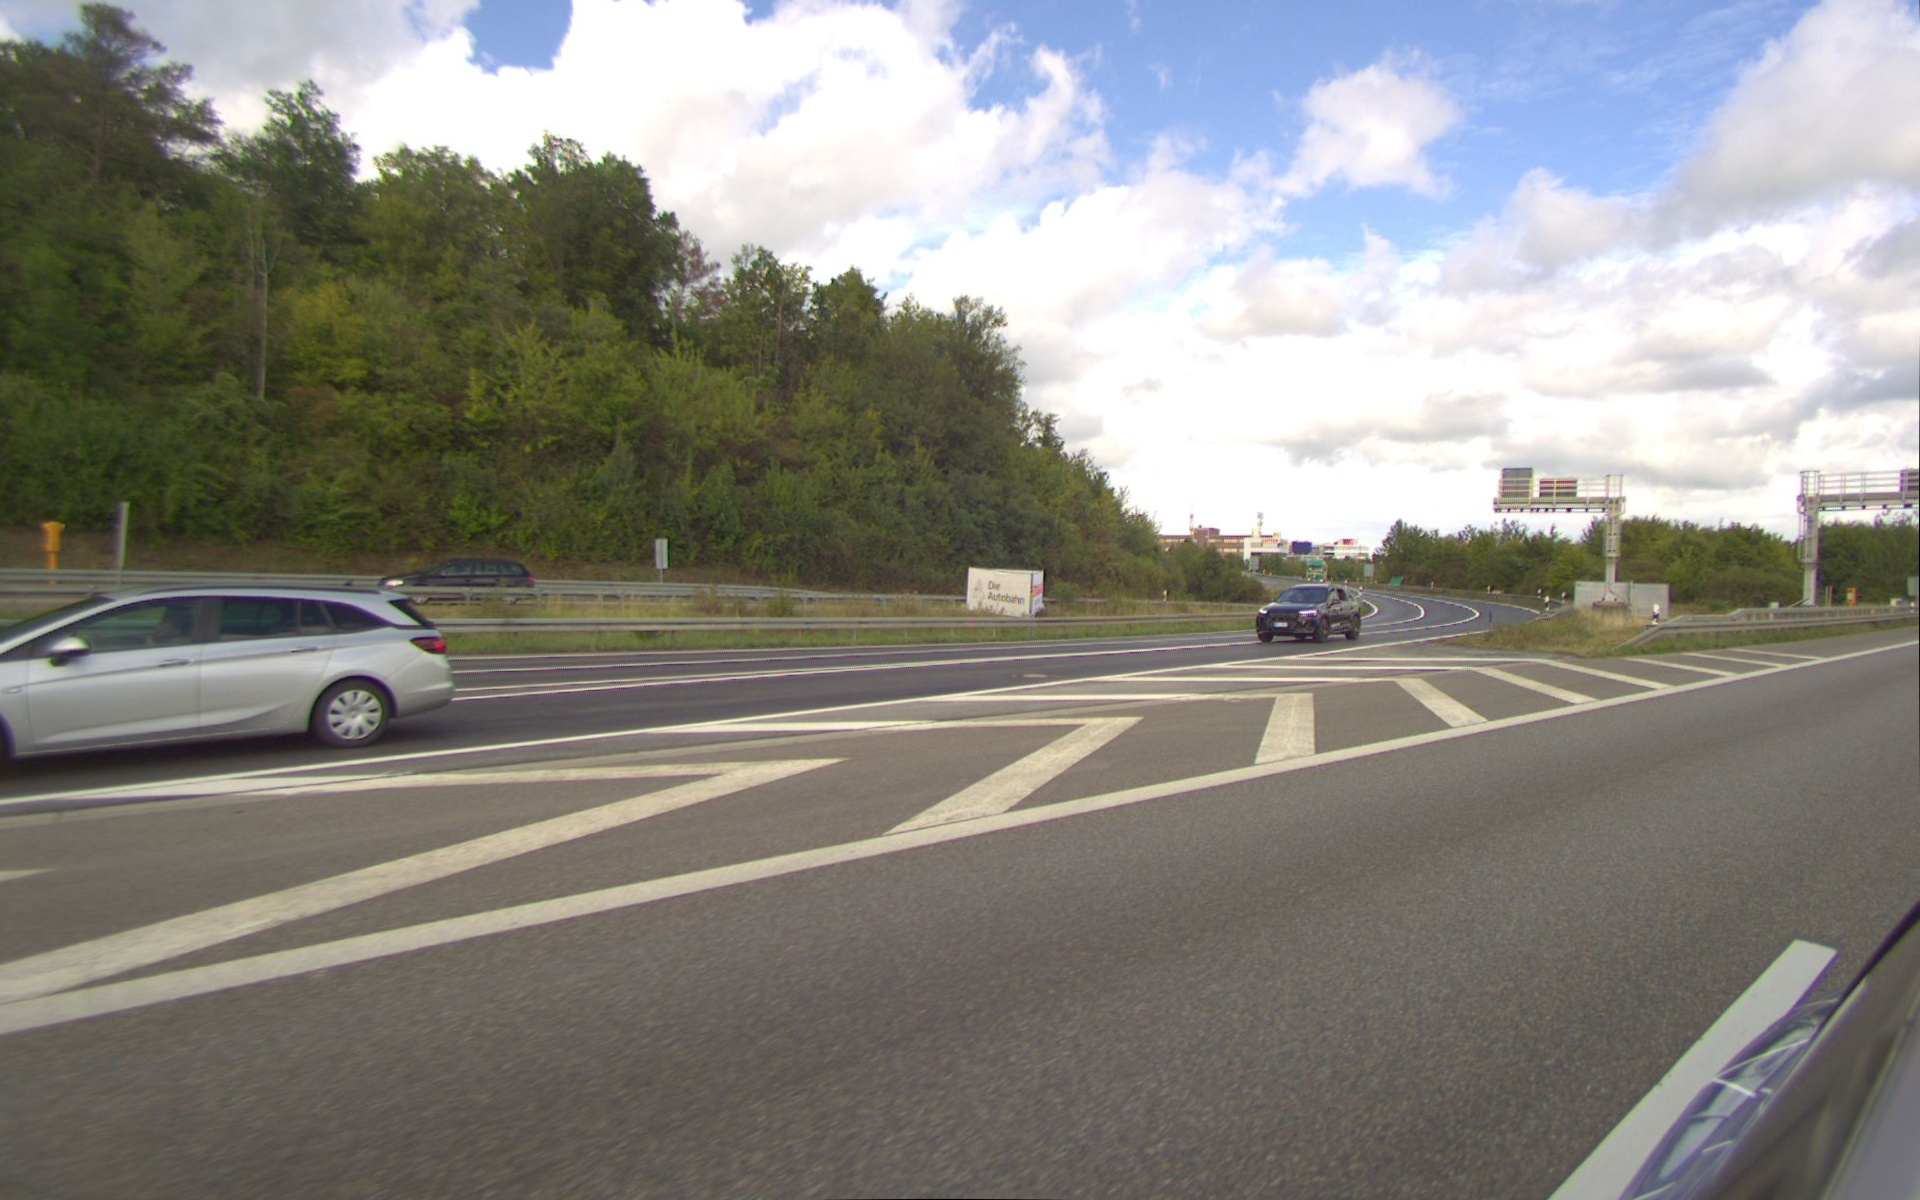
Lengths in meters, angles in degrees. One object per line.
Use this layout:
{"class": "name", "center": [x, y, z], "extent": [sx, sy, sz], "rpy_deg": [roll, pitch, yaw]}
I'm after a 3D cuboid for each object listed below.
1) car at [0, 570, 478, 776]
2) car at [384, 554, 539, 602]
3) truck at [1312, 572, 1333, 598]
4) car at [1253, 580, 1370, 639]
{"class": "car", "center": [-6.859, 0.506, 8.794], "extent": [1.682, 1.503, 4.546], "rpy_deg": [1, 1, 42]}
{"class": "car", "center": [-15.861, -0.686, 32.330], "extent": [1.713, 1.433, 4.102], "rpy_deg": [2, 2, 44]}
{"class": "truck", "center": [57.919, -2.388, 161.955], "extent": [2.932, 3.845, 13.377], "rpy_deg": [1, 1, 19]}
{"class": "car", "center": [10.770, 0.224, 30.763], "extent": [1.868, 1.656, 4.791], "rpy_deg": [1, 1, 39]}
